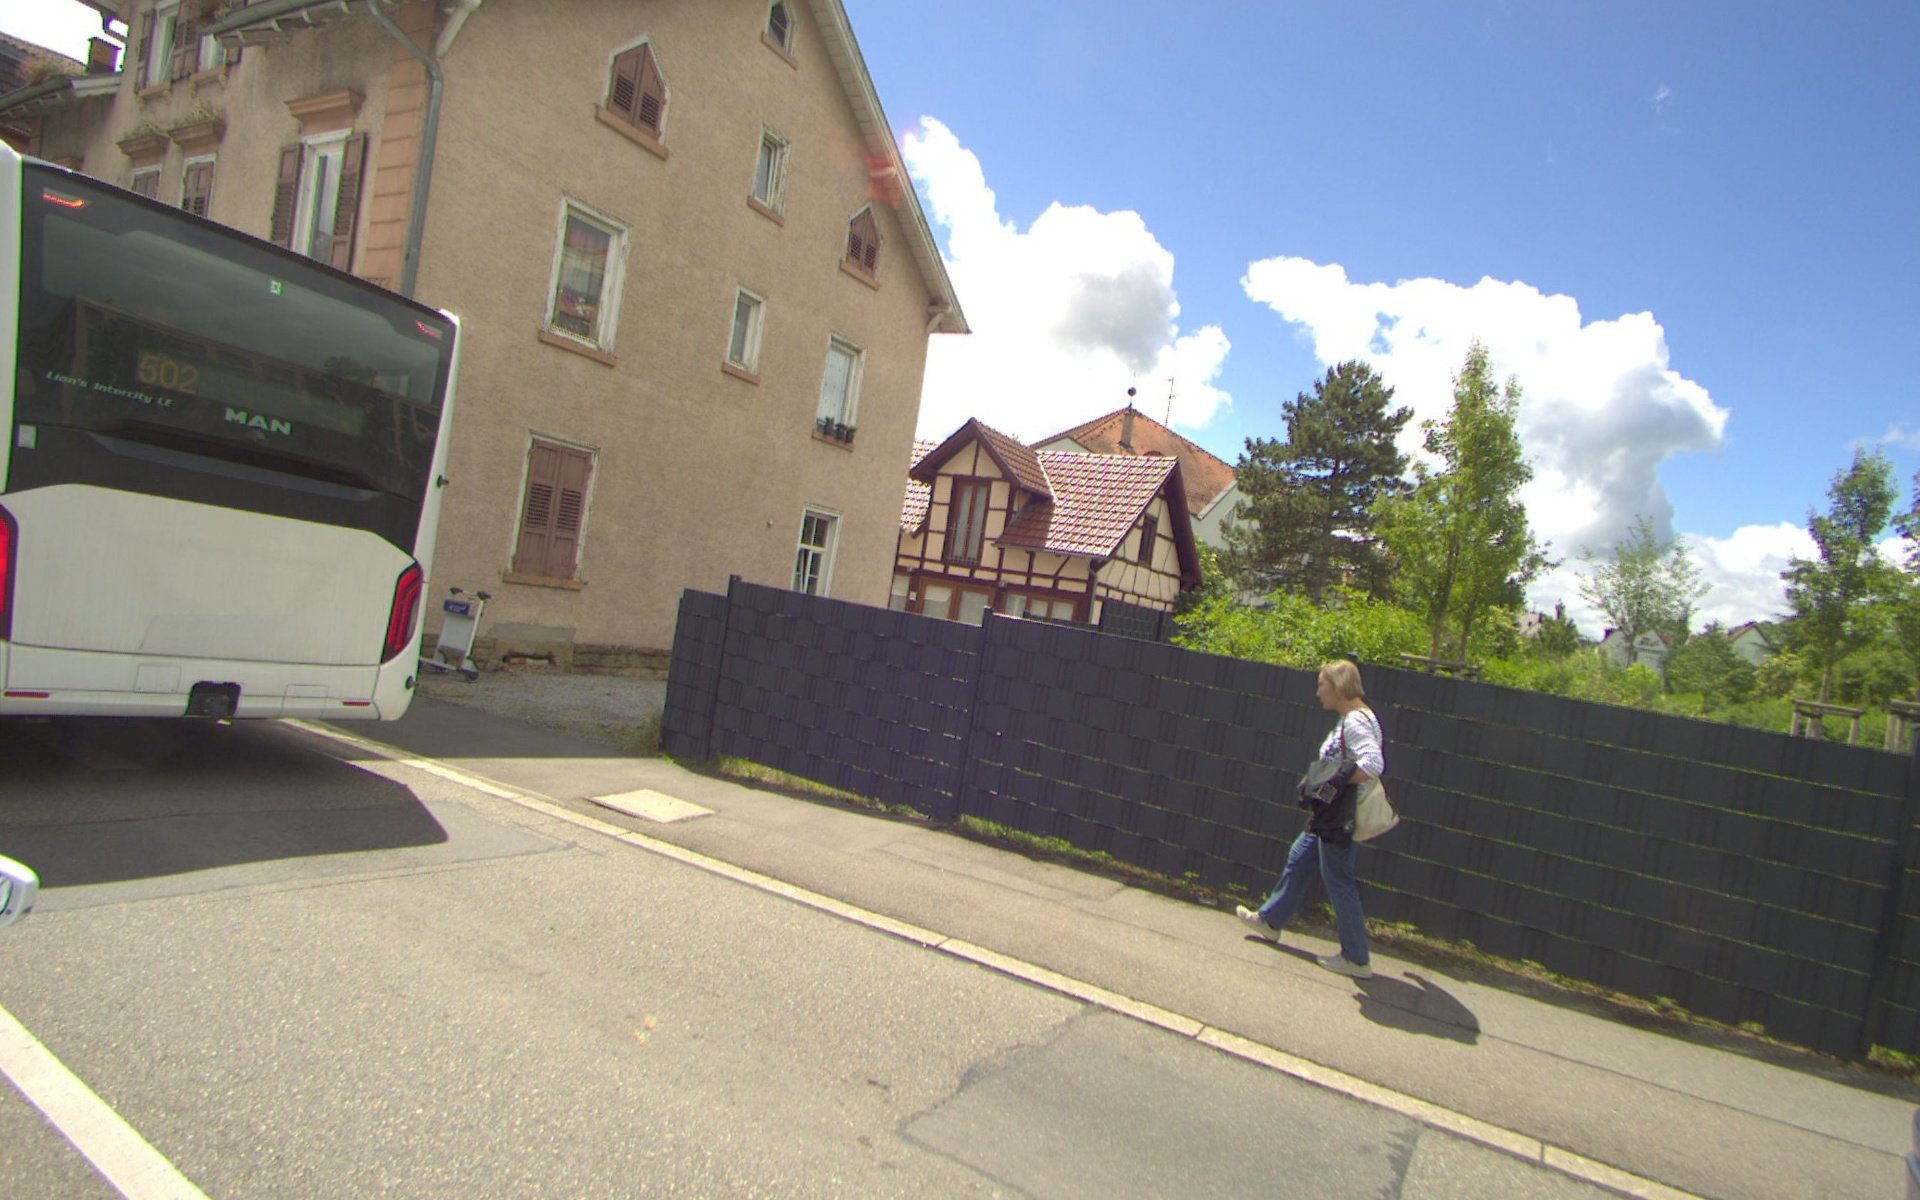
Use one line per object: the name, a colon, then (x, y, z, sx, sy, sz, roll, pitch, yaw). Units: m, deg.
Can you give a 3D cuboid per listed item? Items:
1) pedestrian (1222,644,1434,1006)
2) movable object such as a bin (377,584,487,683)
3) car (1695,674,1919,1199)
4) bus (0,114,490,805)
pedestrian: (1.895, 1.066, 5.133, 0.700, 1.581, 0.860, 7, 1, 31)
movable object such as a bin: (-6.057, 0.394, 11.552, 0.736, 1.025, 0.776, 7, 1, 32)
car: (3.465, 1.212, 0.619, 4.605, 1.631, 1.924, 7, -2, 32)
bus: (-9.144, -1.171, 8.777, 12.255, 3.194, 2.676, 7, 0, 32)
